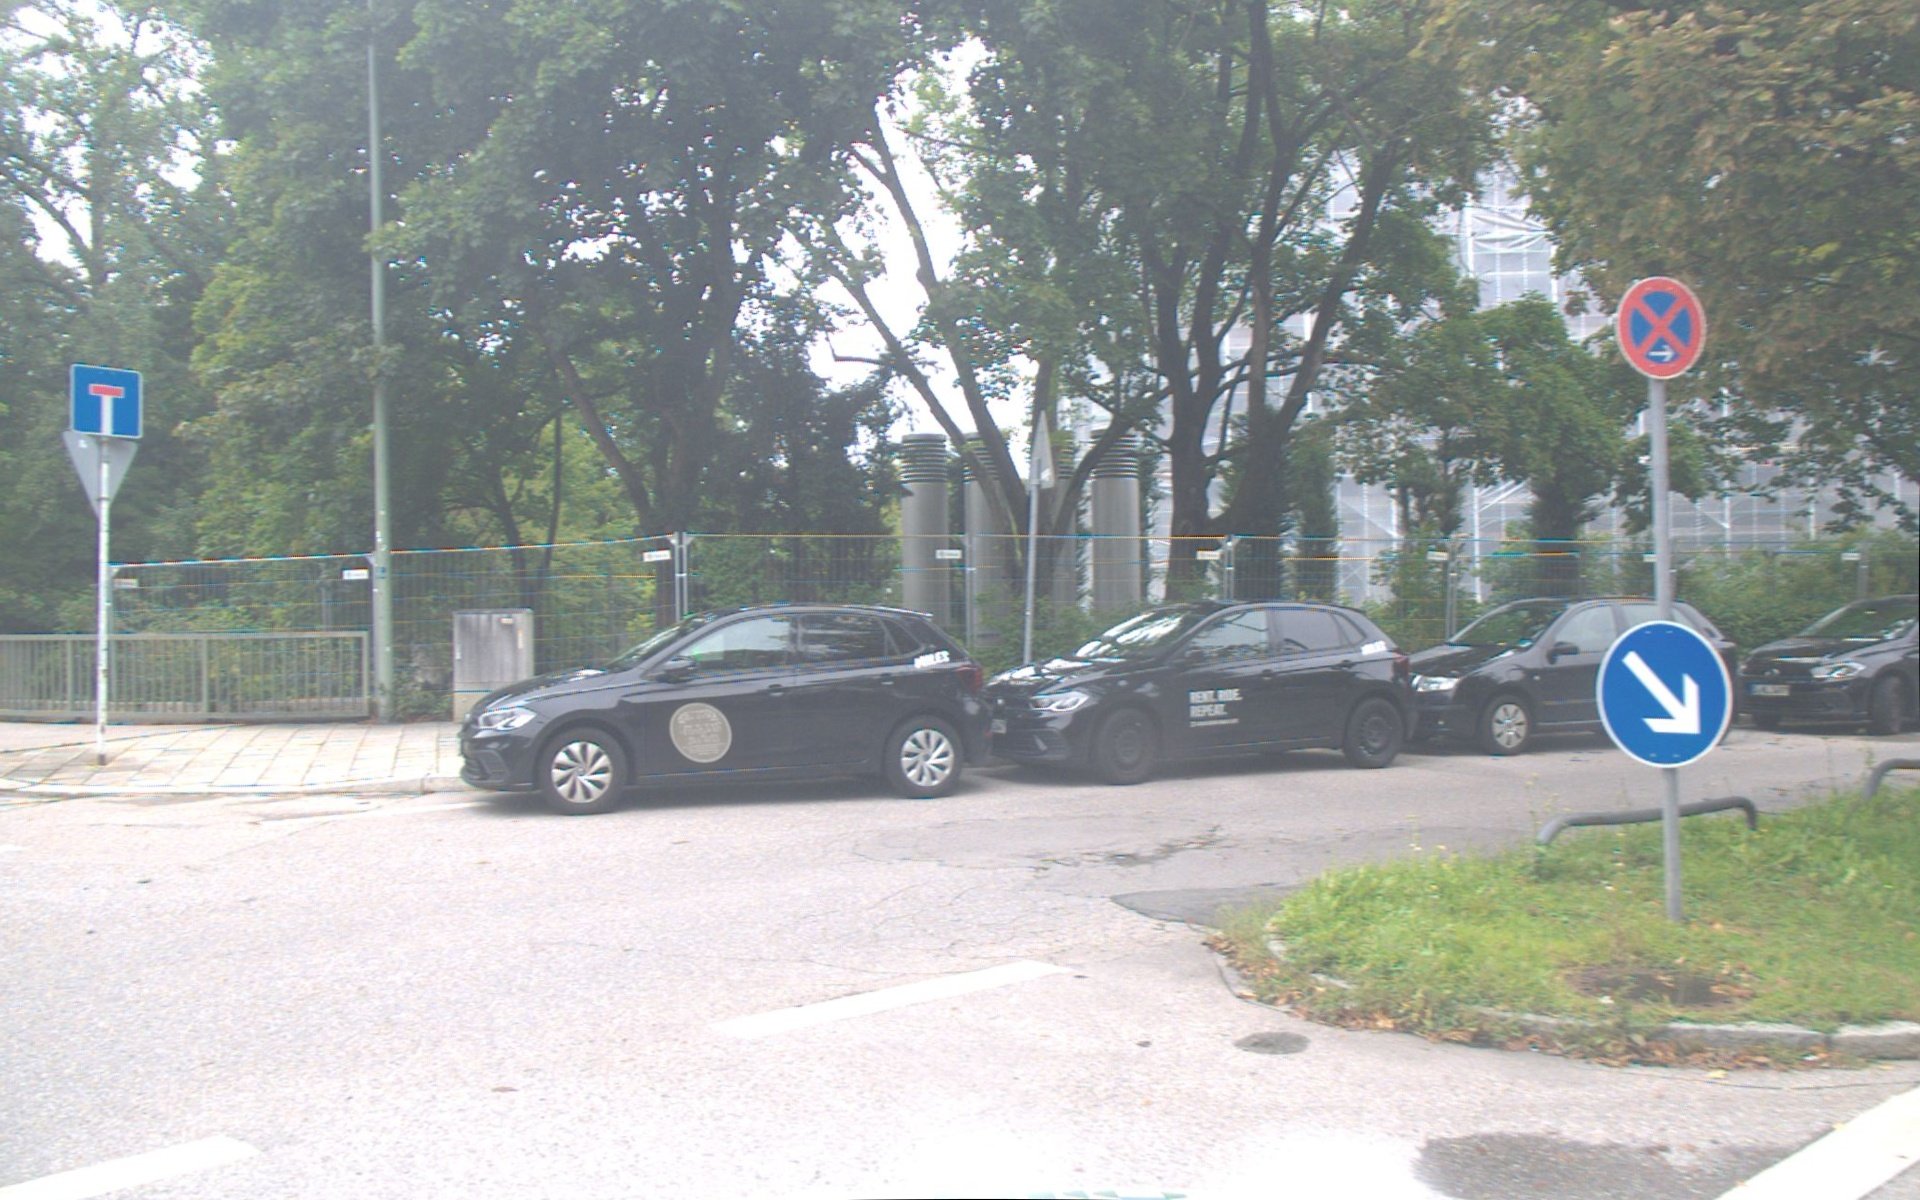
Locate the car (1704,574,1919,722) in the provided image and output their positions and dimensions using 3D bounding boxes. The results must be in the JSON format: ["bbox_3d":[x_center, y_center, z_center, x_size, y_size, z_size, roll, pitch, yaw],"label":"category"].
[{"bbox_3d":[10.421,0.486,18.265,3.938,1.486,1.827,-1,-1,-23],"label":"car"}]

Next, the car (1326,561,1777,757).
[{"bbox_3d":[5.830,0.492,16.364,3.932,1.735,1.986,-1,1,-23],"label":"car"}]

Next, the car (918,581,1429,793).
[{"bbox_3d":[1.820,0.646,14.277,3.932,1.568,1.986,-1,1,-23],"label":"car"}]

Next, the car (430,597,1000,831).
[{"bbox_3d":[-1.899,0.752,12.630,3.973,1.457,1.987,-1,1,-22],"label":"car"}]
